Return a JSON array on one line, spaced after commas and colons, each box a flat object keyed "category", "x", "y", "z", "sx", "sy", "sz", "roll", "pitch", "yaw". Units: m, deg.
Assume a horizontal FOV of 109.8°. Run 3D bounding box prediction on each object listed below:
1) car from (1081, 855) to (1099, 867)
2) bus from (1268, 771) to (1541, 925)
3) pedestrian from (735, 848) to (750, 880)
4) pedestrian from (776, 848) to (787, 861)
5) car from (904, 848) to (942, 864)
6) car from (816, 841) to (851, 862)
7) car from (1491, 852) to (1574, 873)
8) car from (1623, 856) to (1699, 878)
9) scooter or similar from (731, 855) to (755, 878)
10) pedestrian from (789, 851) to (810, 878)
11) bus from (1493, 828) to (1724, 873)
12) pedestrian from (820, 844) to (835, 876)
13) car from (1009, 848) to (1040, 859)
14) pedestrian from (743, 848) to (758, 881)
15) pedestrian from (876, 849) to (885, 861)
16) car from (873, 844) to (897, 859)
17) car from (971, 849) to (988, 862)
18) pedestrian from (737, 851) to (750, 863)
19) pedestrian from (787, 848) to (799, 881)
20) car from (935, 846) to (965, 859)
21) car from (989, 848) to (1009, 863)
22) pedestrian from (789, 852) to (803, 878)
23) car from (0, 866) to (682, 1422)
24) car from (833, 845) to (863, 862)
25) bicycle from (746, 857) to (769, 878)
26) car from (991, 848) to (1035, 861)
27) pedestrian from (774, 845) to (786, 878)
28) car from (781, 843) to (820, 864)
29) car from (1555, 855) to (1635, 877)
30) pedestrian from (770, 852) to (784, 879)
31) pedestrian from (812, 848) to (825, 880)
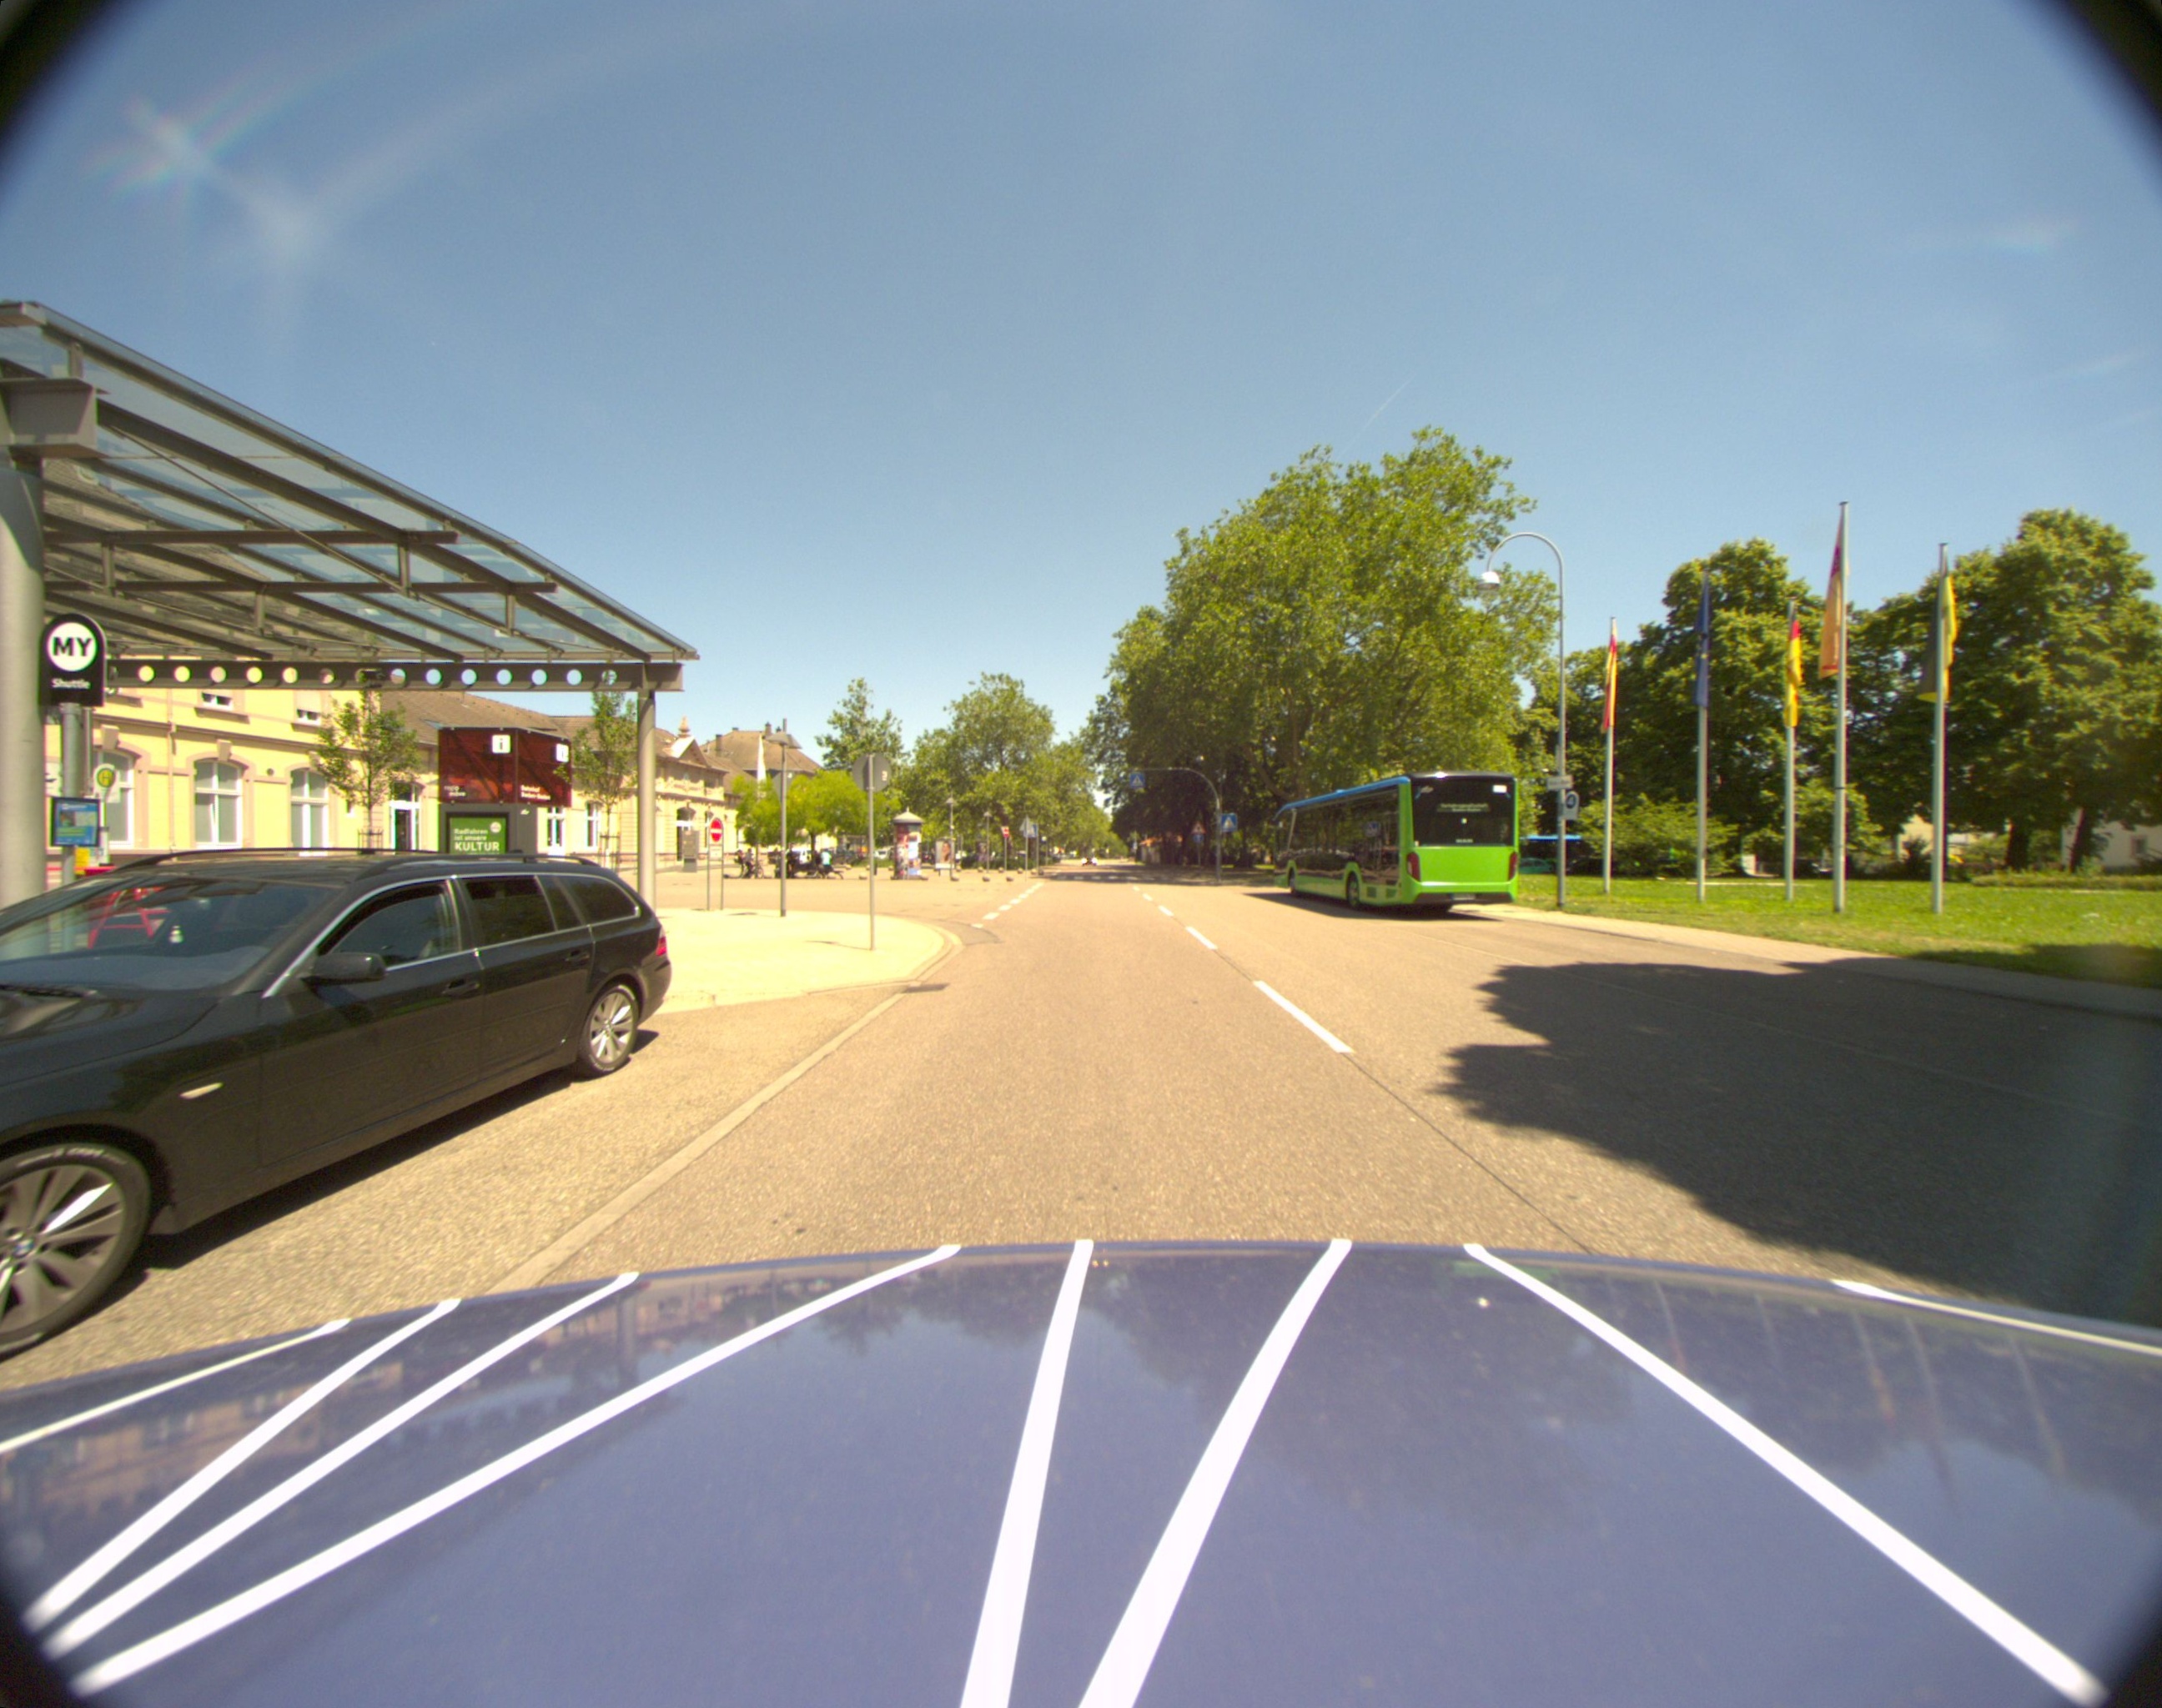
[{"category": "car", "x": 1.122, "y": 0.870, "z": 93.484, "sx": 1.661, "sy": 1.368, "sz": 3.449, "roll": -3, "pitch": 0, "yaw": -7}, {"category": "bus", "x": 8.371, "y": -0.151, "z": 22.280, "sx": 2.816, "sy": 3.264, "sz": 12.424, "roll": 0, "pitch": 0, "yaw": 1}, {"category": "pedestrian", "x": -17.424, "y": 0.508, "z": 39.108, "sx": 0.555, "sy": 1.675, "sz": 0.587, "roll": 0, "pitch": 1, "yaw": -11}, {"category": "pedestrian", "x": -31.192, "y": 0.055, "z": 79.113, "sx": 0.881, "sy": 1.363, "sz": 0.851, "roll": 2, "pitch": 1, "yaw": -3}, {"category": "car", "x": -17.086, "y": 0.144, "z": 82.198, "sx": 4.515, "sy": 1.534, "sz": 1.804, "roll": 2, "pitch": 3, "yaw": 44}, {"category": "car", "x": -25.657, "y": -0.209, "z": 78.952, "sx": 2.093, "sy": 2.112, "sz": 5.823, "roll": -1, "pitch": 0, "yaw": -4}, {"category": "car", "x": 31.686, "y": 0.600, "z": 53.364, "sx": 4.766, "sy": 1.431, "sz": 1.756, "roll": 0, "pitch": 1, "yaw": 1}, {"category": "car", "x": 40.741, "y": 0.888, "z": 53.422, "sx": 3.915, "sy": 1.484, "sz": 1.760, "roll": 0, "pitch": 1, "yaw": 0}, {"category": "scooter or similar", "x": -16.951, "y": 0.638, "z": 38.131, "sx": 1.028, "sy": 1.133, "sz": 0.294, "roll": 0, "pitch": 1, "yaw": -7}, {"category": "pedestrian", "x": -14.867, "y": 0.543, "z": 40.102, "sx": 0.914, "sy": 1.378, "sz": 0.942, "roll": 0, "pitch": 1, "yaw": -29}, {"category": "bus", "x": 41.057, "y": -0.278, "z": 59.501, "sx": 15.938, "sy": 3.276, "sz": 2.877, "roll": 0, "pitch": 1, "yaw": 1}, {"category": "pedestrian", "x": -13.727, "y": 0.326, "z": 41.141, "sx": 0.695, "sy": 1.753, "sz": 0.584, "roll": 0, "pitch": 1, "yaw": -30}, {"category": "car", "x": -7.617, "y": -0.025, "z": 102.861, "sx": 3.882, "sy": 1.452, "sz": 1.632, "roll": 0, "pitch": 1, "yaw": -28}, {"category": "pedestrian", "x": -17.301, "y": 0.539, "z": 39.773, "sx": 0.619, "sy": 1.675, "sz": 0.590, "roll": 0, "pitch": 1, "yaw": -12}, {"category": "pedestrian", "x": -23.902, "y": 0.110, "z": 90.445, "sx": 0.689, "sy": 1.416, "sz": 0.803, "roll": 1, "pitch": 1, "yaw": 37}, {"category": "car", "x": -25.730, "y": -0.379, "z": 99.873, "sx": 2.004, "sy": 1.830, "sz": 5.315, "roll": -2, "pitch": 1, "yaw": -4}, {"category": "car", "x": -15.916, "y": 0.211, "z": 118.853, "sx": 1.741, "sy": 1.883, "sz": 3.992, "roll": 0, "pitch": 0, "yaw": -23}, {"category": "pedestrian", "x": -31.070, "y": 0.263, "z": 69.967, "sx": 0.881, "sy": 1.073, "sz": 0.851, "roll": 2, "pitch": 1, "yaw": -3}, {"category": "pedestrian", "x": -15.515, "y": 0.556, "z": 40.926, "sx": 0.586, "sy": 1.730, "sz": 0.598, "roll": 0, "pitch": 1, "yaw": -25}, {"category": "car", "x": -17.075, "y": -0.191, "z": 98.795, "sx": 1.804, "sy": 1.596, "sz": 4.051, "roll": -2, "pitch": 3, "yaw": -44}, {"category": "car", "x": -8.640, "y": 0.135, "z": 80.569, "sx": 1.600, "sy": 1.584, "sz": 3.107, "roll": 0, "pitch": 1, "yaw": 3}, {"category": "pedestrian", "x": -14.593, "y": 0.564, "z": 38.909, "sx": 0.600, "sy": 1.356, "sz": 0.598, "roll": 0, "pitch": 1, "yaw": -28}, {"category": "car", "x": -4.127, "y": 0.895, "z": 3.597, "sx": 1.931, "sy": 1.452, "sz": 4.724, "roll": 3, "pitch": 1, "yaw": 0}, {"category": "car", "x": -26.142, "y": -0.075, "z": 85.398, "sx": 2.080, "sy": 1.829, "sz": 4.838, "roll": -1, "pitch": 0, "yaw": -4}, {"category": "bicycle", "x": -17.658, "y": 0.736, "z": 41.486, "sx": 0.421, "sy": 1.054, "sz": 1.948, "roll": 0, "pitch": 1, "yaw": -1}, {"category": "car", "x": -7.929, "y": 0.070, "z": 88.625, "sx": 4.782, "sy": 1.409, "sz": 1.783, "roll": 0, "pitch": 1, "yaw": -18}, {"category": "pedestrian", "x": -15.897, "y": 0.384, "z": 40.170, "sx": 0.513, "sy": 1.730, "sz": 0.569, "roll": 0, "pitch": 1, "yaw": -29}, {"category": "car", "x": -26.192, "y": -0.061, "z": 71.148, "sx": 1.814, "sy": 1.855, "sz": 5.138, "roll": -1, "pitch": 0, "yaw": -2}, {"category": "car", "x": 36.135, "y": 0.818, "z": 53.492, "sx": 4.372, "sy": 1.484, "sz": 1.760, "roll": 0, "pitch": 1, "yaw": 0}, {"category": "pedestrian", "x": -15.431, "y": 0.601, "z": 38.555, "sx": 0.600, "sy": 1.356, "sz": 0.598, "roll": 0, "pitch": 1, "yaw": -28}, {"category": "pedestrian", "x": -14.428, "y": 0.554, "z": 41.712, "sx": 0.628, "sy": 1.730, "sz": 0.547, "roll": 0, "pitch": 1, "yaw": -25}]
